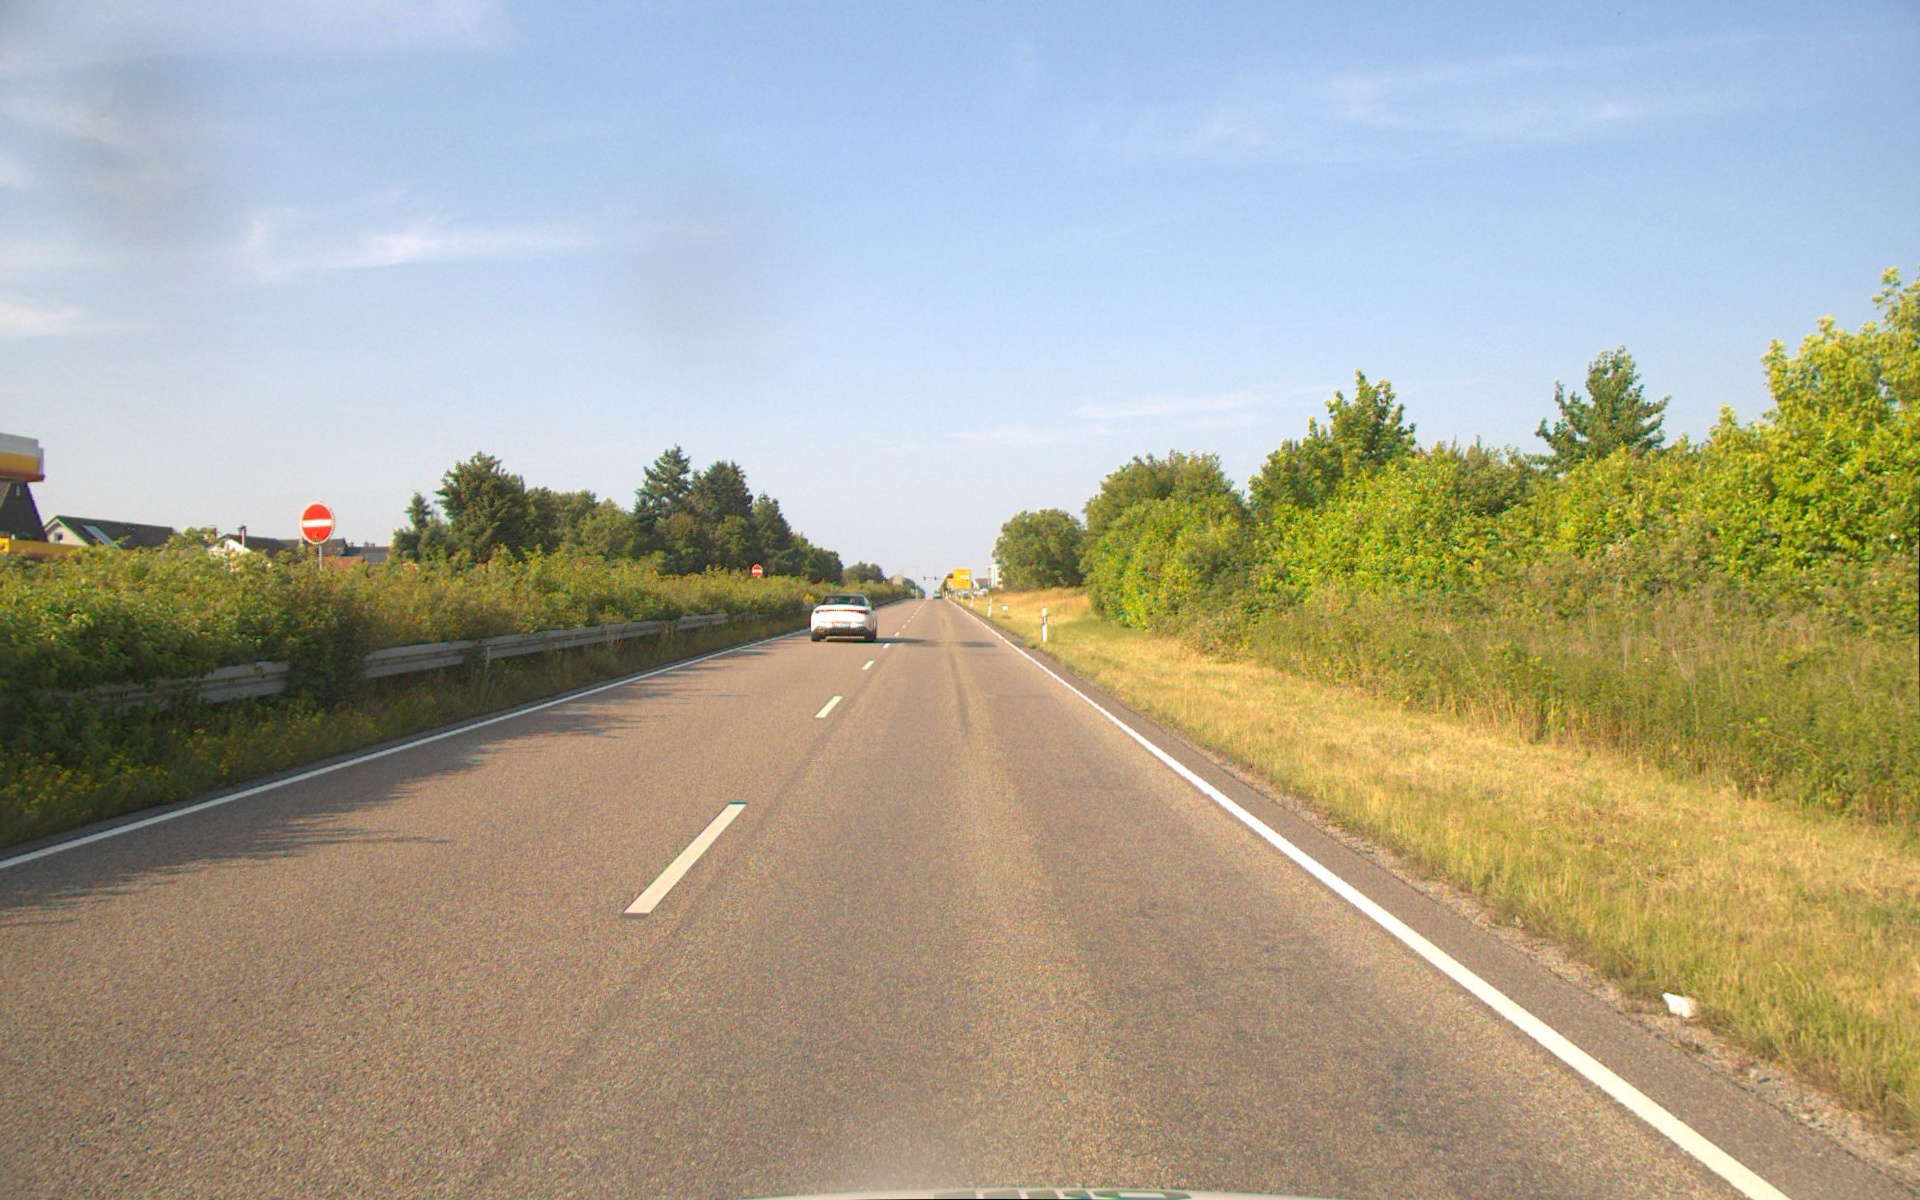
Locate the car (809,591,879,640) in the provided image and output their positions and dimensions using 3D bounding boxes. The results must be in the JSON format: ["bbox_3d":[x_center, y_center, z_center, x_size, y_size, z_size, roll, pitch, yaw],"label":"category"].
[{"bbox_3d":[-3.415,0.460,49.426,1.735,1.361,4.949,1,0,-1],"label":"car"}]
